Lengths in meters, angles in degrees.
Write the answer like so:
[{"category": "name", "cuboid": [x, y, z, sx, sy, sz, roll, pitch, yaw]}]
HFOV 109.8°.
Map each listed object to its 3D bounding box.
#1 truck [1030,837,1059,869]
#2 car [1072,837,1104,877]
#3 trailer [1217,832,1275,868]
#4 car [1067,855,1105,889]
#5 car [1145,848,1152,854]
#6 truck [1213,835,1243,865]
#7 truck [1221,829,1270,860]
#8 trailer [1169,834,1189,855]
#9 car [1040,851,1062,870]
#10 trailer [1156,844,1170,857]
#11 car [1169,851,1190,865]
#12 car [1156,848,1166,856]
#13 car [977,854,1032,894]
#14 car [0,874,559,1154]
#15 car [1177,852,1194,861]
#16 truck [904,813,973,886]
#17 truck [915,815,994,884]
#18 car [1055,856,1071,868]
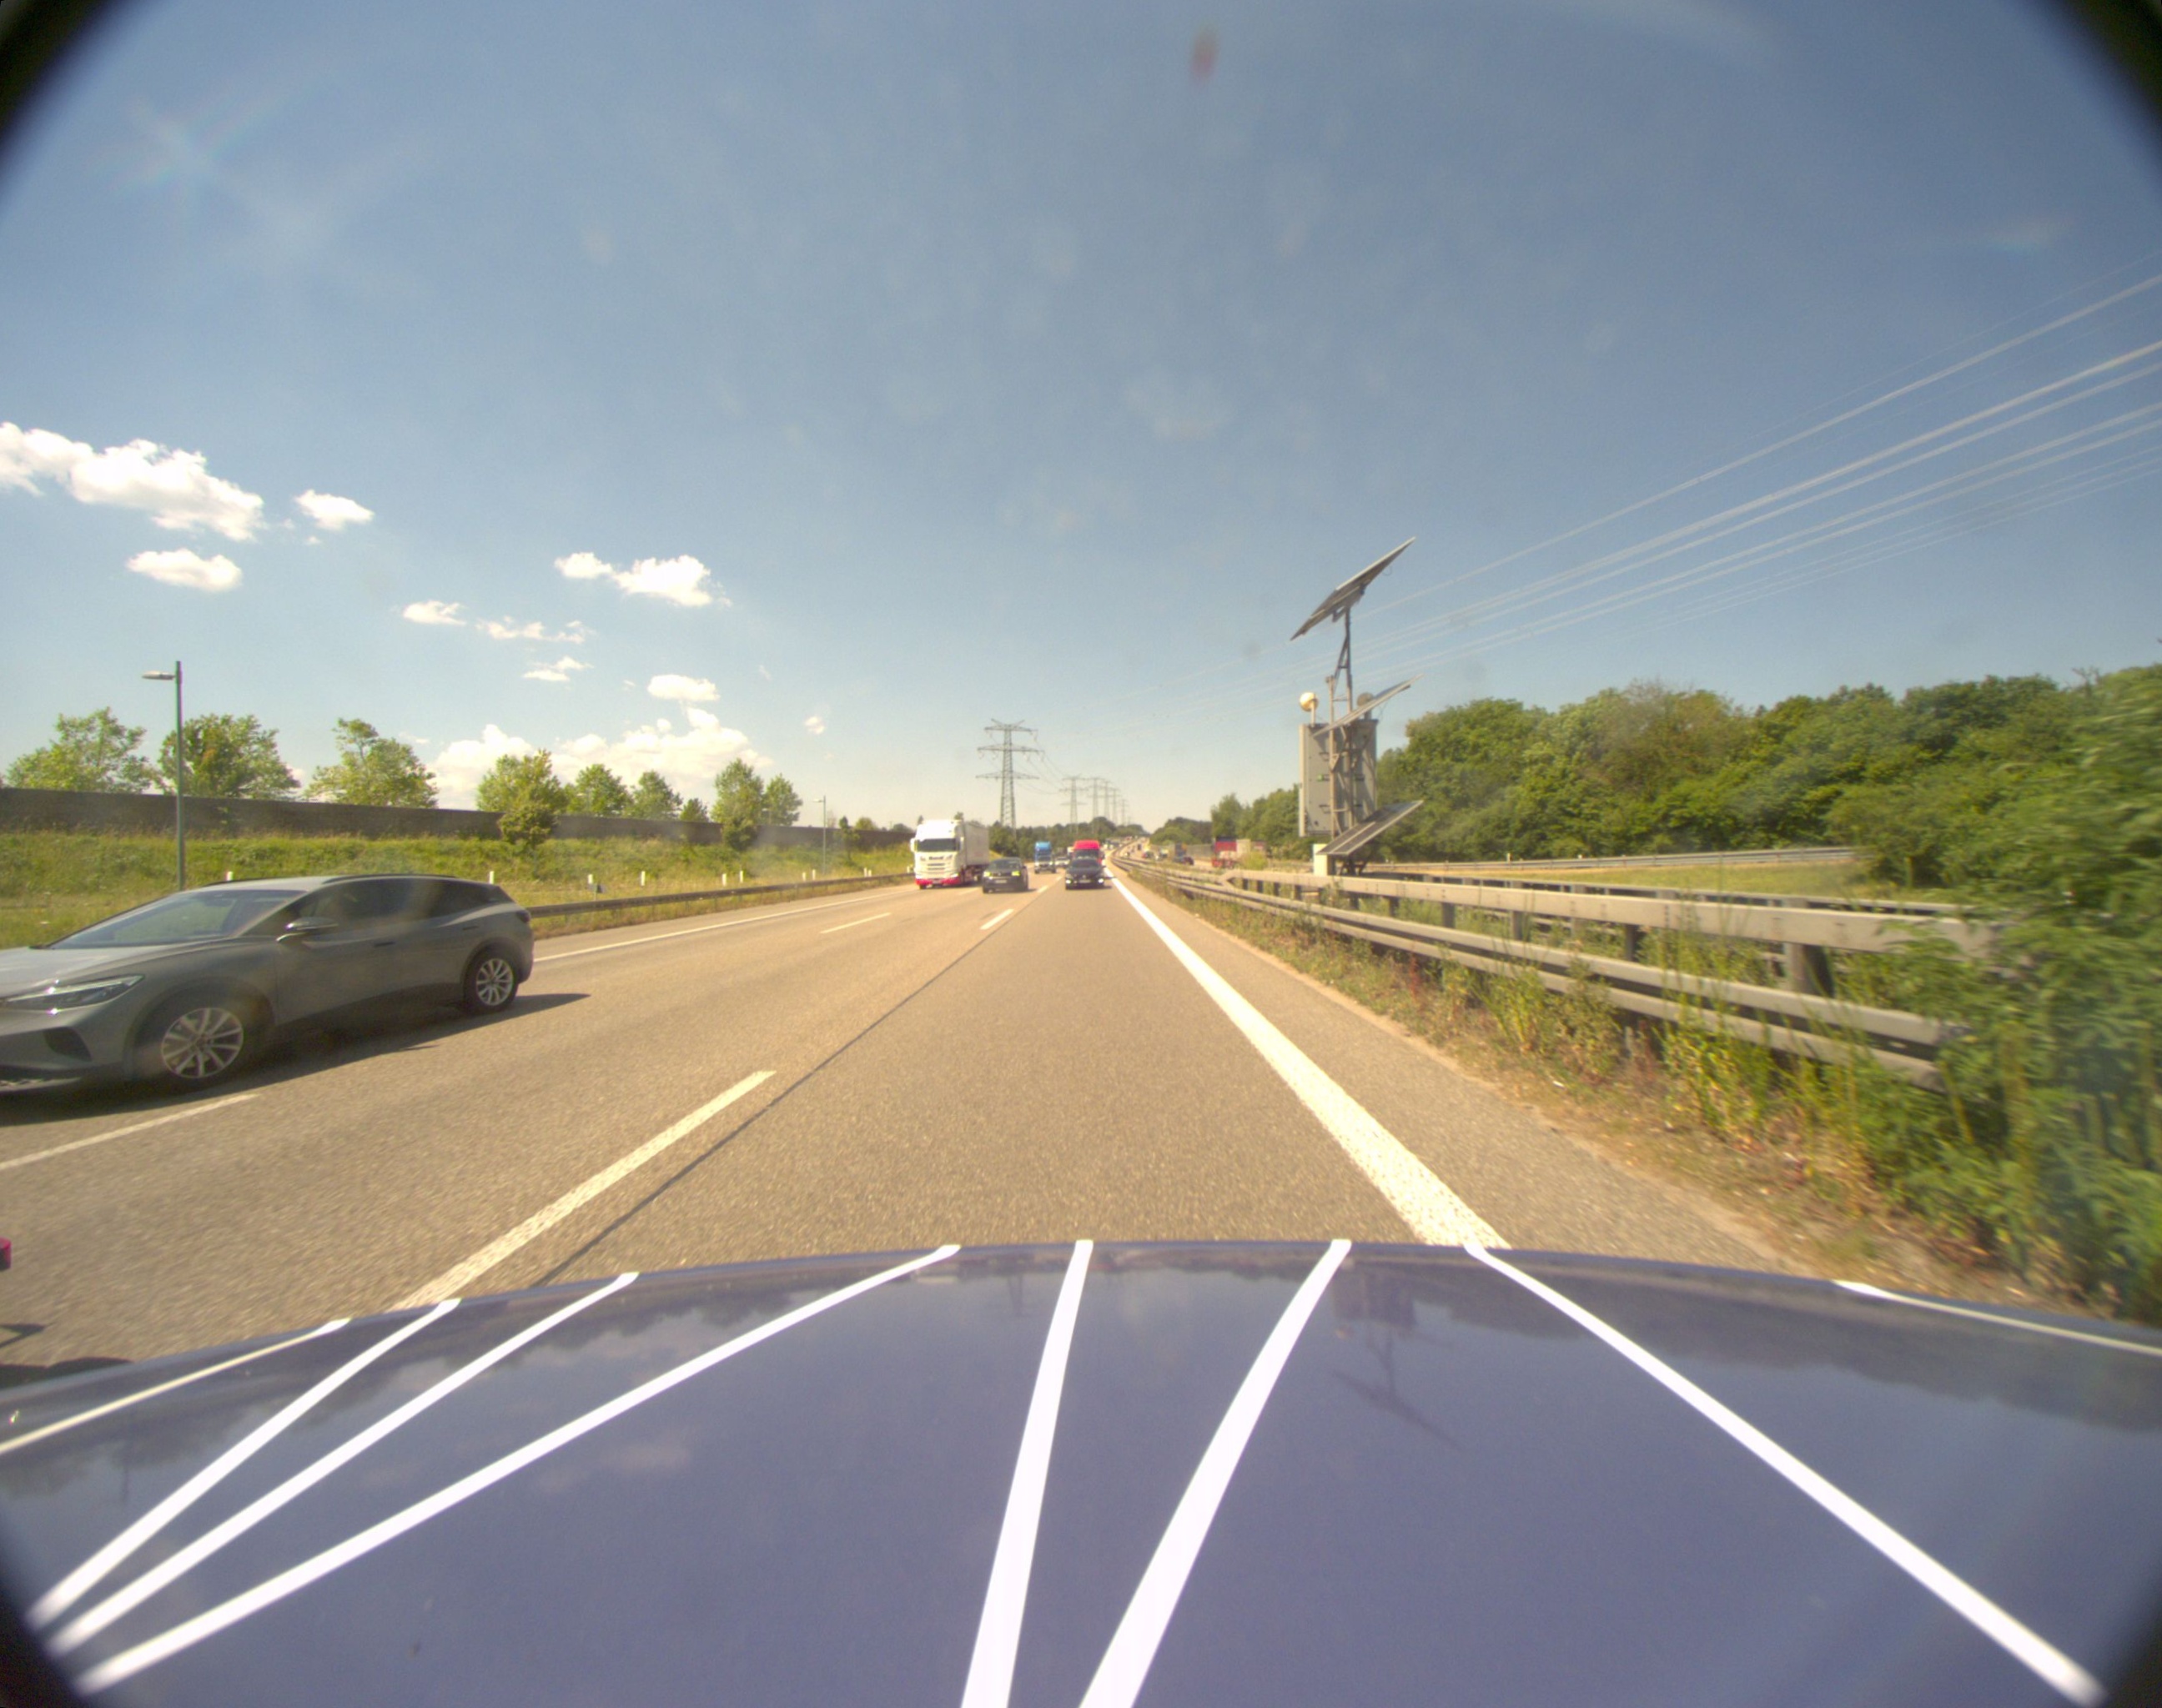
[{"category": "truck", "cuboid": [-6.163, -0.247, 131.708, 3.797, 4.971, 14.924, -2, 1, 2]}, {"category": "car", "cuboid": [0.524, 0.156, 52.069, 2.100, 2.598, 4.496, 0, 1, 2]}, {"category": "trailer", "cuboid": [17.924, -0.419, 83.799, 3.003, 3.538, 16.022, -1, 0, 1]}, {"category": "car", "cuboid": [0.284, 0.820, 36.328, 1.735, 1.535, 3.750, 0, 1, 2]}, {"category": "car", "cuboid": [17.916, -0.865, 201.513, 1.716, 1.460, 4.147, 1, 1, 3]}, {"category": "truck", "cuboid": [18.023, -0.485, 93.384, 3.003, 3.538, 3.118, -1, 1, 0]}, {"category": "truck", "cuboid": [26.283, -1.421, 122.322, 3.005, 4.314, 14.541, -1, -2, -7]}, {"category": "trailer", "cuboid": [20.916, -1.989, 162.676, 3.182, 4.316, 13.814, -1, 0, 3]}, {"category": "car", "cuboid": [-2.829, 0.599, 71.688, 1.749, 1.691, 4.088, 0, 1, 2]}, {"category": "trailer", "cuboid": [21.524, -1.026, 199.901, 2.921, 3.281, 9.710, -1, 0, 1]}, {"category": "car", "cuboid": [10.701, 0.400, 82.655, 1.728, 1.517, 4.000, 0, 0, 1]}, {"category": "car", "cuboid": [16.594, -0.459, 158.132, 1.786, 1.522, 3.883, 2, 1, 1]}, {"category": "car", "cuboid": [-3.525, 0.890, 35.714, 1.955, 1.636, 4.047, -3, 1, 2]}, {"category": "car", "cuboid": [-7.520, 1.127, 7.193, 1.873, 1.627, 4.585, -2, 1, 1]}, {"category": "car", "cuboid": [14.791, 0.336, 108.114, 1.774, 1.326, 4.921, 0, 0, 1]}, {"category": "truck", "cuboid": [-8.087, -0.254, 43.556, 3.076, 3.885, 3.846, -2, 1, 0]}, {"category": "truck", "cuboid": [-8.128, -0.291, 50.697, 3.076, 3.885, 12.502, -2, 0, 0]}, {"category": "car", "cuboid": [-2.329, 1.056, 100.332, 1.878, 1.591, 3.688, 0, 1, 2]}]
